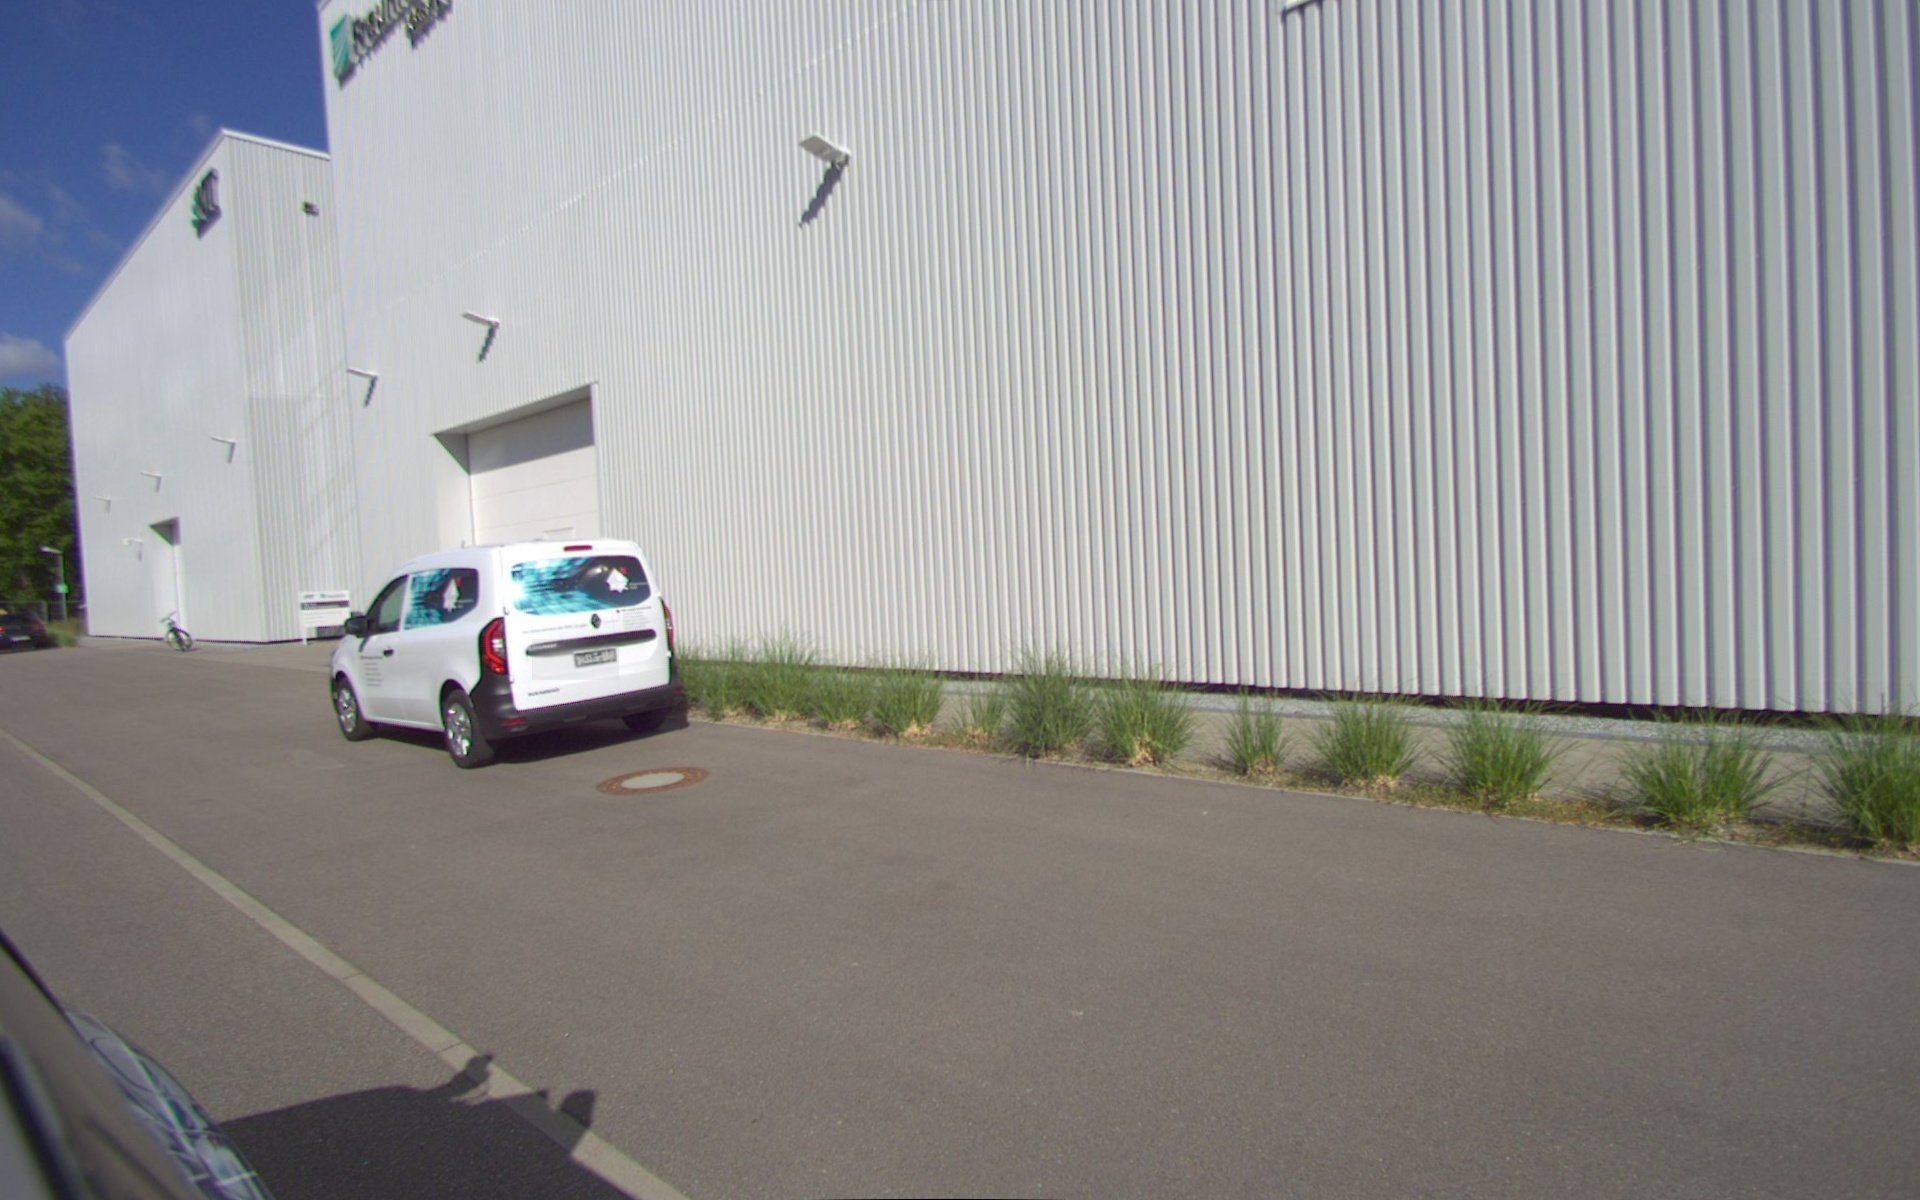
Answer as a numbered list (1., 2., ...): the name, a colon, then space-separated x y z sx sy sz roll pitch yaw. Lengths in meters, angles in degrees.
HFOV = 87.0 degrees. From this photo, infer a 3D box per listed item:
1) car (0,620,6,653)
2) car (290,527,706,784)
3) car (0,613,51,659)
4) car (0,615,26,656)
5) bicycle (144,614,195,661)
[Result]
1. car: -44.134 1.670 45.339 4.001 1.451 1.766 -1 1 44
2. car: -4.561 0.410 9.683 4.356 1.859 1.871 -2 4 41
3. car: -36.060 1.377 38.414 4.001 1.532 1.871 -1 5 44
4. car: -40.051 1.514 41.821 4.001 1.532 1.767 -1 5 44
5. bicycle: -22.882 1.059 29.313 0.895 1.151 1.905 -7 5 -33
